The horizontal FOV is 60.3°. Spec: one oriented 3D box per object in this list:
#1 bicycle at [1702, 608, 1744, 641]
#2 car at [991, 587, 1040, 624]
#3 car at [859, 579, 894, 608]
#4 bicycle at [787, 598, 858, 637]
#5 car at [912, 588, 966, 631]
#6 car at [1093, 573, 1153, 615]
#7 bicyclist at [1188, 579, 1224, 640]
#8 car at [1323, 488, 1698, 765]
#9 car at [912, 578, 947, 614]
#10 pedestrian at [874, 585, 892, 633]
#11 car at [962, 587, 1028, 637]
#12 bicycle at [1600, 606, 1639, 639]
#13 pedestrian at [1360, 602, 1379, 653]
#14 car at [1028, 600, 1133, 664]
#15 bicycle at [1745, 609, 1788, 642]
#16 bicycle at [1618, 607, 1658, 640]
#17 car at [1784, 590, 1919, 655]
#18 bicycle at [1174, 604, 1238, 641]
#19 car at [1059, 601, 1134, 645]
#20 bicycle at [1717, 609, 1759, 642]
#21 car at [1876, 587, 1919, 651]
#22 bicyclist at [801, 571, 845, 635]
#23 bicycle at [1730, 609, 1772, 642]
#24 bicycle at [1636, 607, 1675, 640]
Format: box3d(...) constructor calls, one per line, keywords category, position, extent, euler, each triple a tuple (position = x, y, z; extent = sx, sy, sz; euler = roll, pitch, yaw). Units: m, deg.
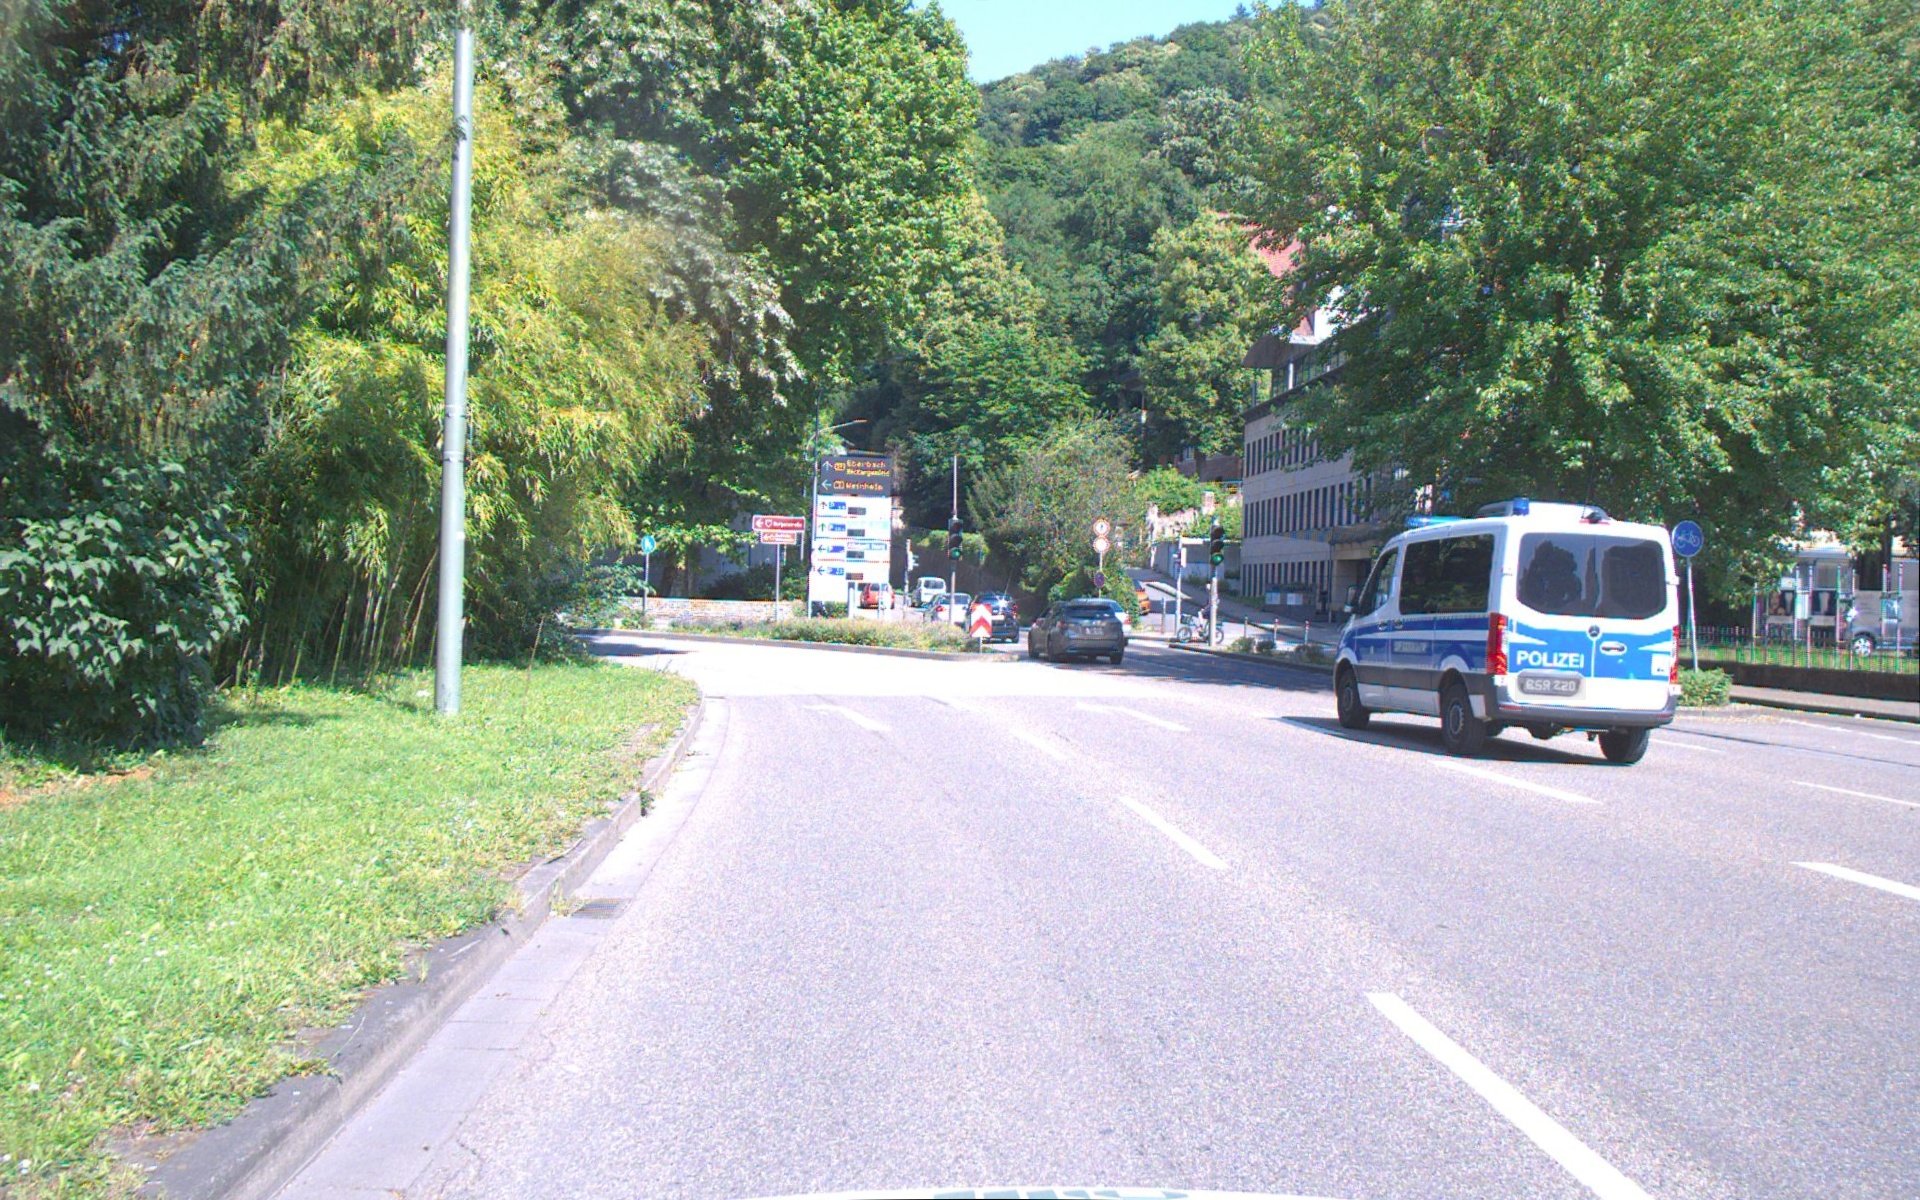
box3d(category="bicycle", position=(26.803, 0.865, 58.145), extent=(0.526, 1.104, 1.834), euler=(1, 0, -3))
box3d(category="car", position=(2.420, 0.222, 73.054), extent=(1.722, 1.486, 3.642), euler=(2, 0, -5))
box3d(category="car", position=(-4.606, -0.364, 90.592), extent=(1.722, 1.486, 3.490), euler=(2, 0, -5))
box3d(category="bicycle", position=(-4.300, 0.535, 51.701), extent=(2.033, 1.132, 0.757), euler=(2, 0, 20))
box3d(category="car", position=(-0.818, 0.347, 62.220), extent=(1.722, 1.486, 3.642), euler=(2, 0, -5))
box3d(category="car", position=(7.056, -0.267, 71.990), extent=(1.893, 1.726, 3.996), euler=(1, 0, -5))
box3d(category="bicyclist", position=(8.050, 0.314, 54.203), extent=(1.102, 1.966, 0.749), euler=(2, 0, 8))
box3d(category="car", position=(5.767, 0.251, 18.111), extent=(2.033, 2.552, 4.924), euler=(2, 0, -5))
box3d(category="car", position=(-1.771, -0.267, 95.200), extent=(1.722, 1.972, 3.490), euler=(2, 0, -5))
box3d(category="pedestrian", position=(-2.672, 0.323, 57.578), extent=(0.535, 1.649, 0.634), euler=(1, 1, 4))
box3d(category="car", position=(1.100, 0.375, 53.317), extent=(1.722, 1.486, 3.490), euler=(2, 0, -5))
box3d(category="bicycle", position=(23.169, 0.795, 58.124), extent=(0.526, 1.104, 1.834), euler=(1, 0, -3))
box3d(category="pedestrian", position=(12.224, 0.810, 49.345), extent=(0.479, 1.483, 0.734), euler=(1, 0, 19))
box3d(category="car", position=(2.851, 0.740, 39.908), extent=(1.723, 1.357, 3.794), euler=(2, 0, -8))
box3d(category="bicycle", position=(28.552, 0.898, 58.602), extent=(0.526, 1.104, 1.834), euler=(1, 0, -3))
box3d(category="bicycle", position=(23.751, 0.806, 57.969), extent=(0.526, 1.104, 1.834), euler=(1, 0, -3))
box3d(category="car", position=(22.719, 0.565, 40.663), extent=(4.067, 1.501, 1.874), euler=(1, 0, -10))
box3d(category="bicycle", position=(8.056, 0.732, 54.201), extent=(2.032, 1.132, 0.757), euler=(2, 0, 7))
box3d(category="car", position=(4.229, 0.688, 51.612), extent=(1.722, 1.234, 3.490), euler=(2, 0, -5))
box3d(category="bicycle", position=(27.400, 0.876, 58.261), extent=(0.526, 1.104, 1.834), euler=(1, 0, -3))
box3d(category="car", position=(22.479, 0.448, 35.847), extent=(4.381, 1.359, 1.819), euler=(1, 0, -7))
box3d(category="bicyclist", position=(-4.266, 0.100, 51.685), extent=(1.103, 1.966, 0.748), euler=(2, 0, 20))
box3d(category="bicycle", position=(27.969, 0.887, 58.498), extent=(0.526, 1.104, 1.834), euler=(1, 0, -3))
box3d(category="bicycle", position=(24.384, 0.818, 58.018), extent=(0.526, 1.104, 1.834), euler=(1, 0, -3))
